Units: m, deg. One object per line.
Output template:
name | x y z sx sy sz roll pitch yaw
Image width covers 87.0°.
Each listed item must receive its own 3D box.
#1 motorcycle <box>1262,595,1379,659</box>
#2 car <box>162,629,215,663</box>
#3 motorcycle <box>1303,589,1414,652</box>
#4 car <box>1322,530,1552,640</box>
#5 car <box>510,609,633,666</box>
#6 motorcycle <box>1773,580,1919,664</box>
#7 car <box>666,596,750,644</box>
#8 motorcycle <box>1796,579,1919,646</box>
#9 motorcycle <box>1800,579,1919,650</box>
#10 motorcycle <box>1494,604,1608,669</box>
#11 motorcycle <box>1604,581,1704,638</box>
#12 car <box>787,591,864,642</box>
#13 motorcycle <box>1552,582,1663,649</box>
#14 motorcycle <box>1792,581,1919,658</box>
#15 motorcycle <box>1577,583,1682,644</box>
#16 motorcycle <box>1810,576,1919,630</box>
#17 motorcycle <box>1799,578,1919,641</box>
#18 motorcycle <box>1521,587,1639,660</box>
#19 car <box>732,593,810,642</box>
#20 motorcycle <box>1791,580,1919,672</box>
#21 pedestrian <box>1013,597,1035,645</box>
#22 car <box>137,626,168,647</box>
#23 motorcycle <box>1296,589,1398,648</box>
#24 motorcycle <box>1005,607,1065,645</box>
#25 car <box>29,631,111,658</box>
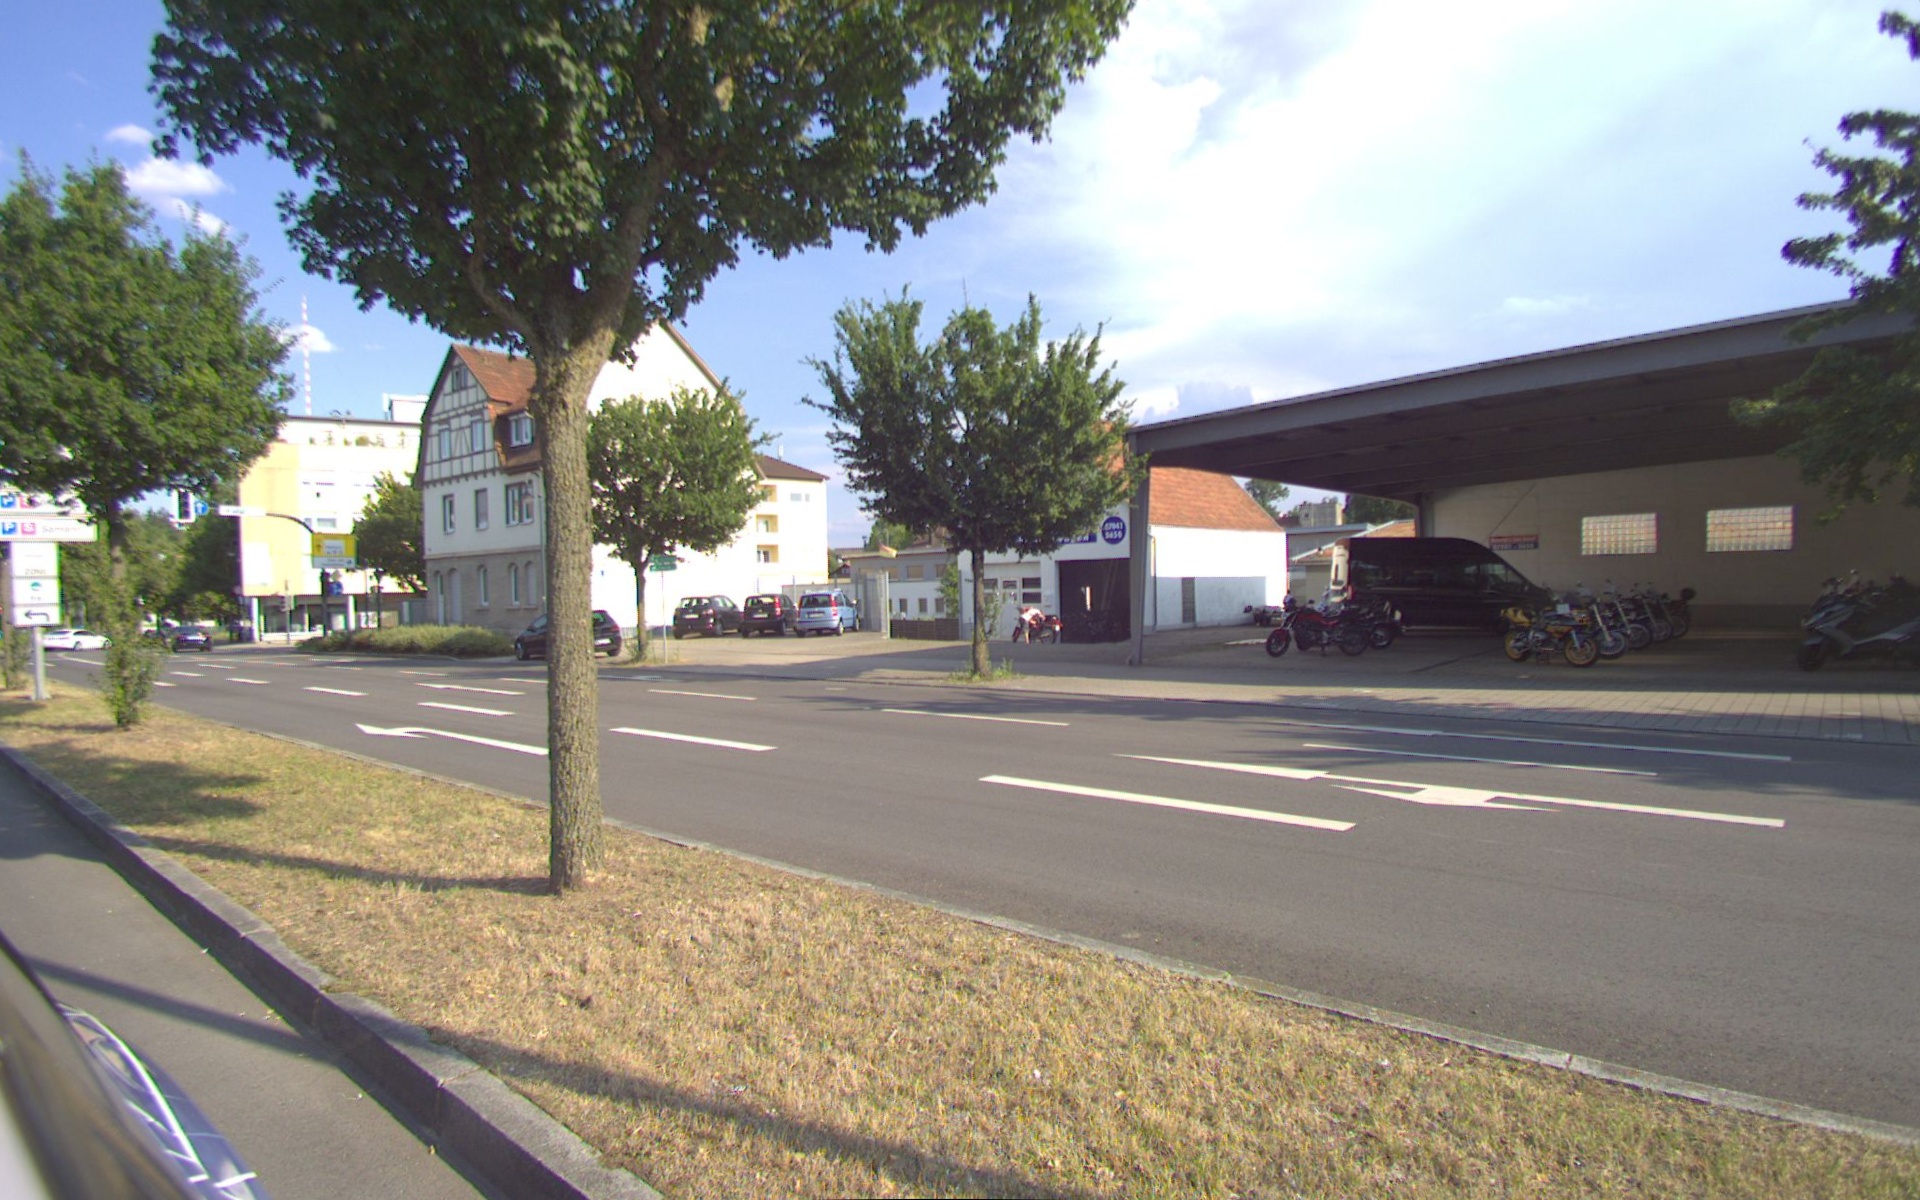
motorcycle | 7.505 0.565 21.161 2.202 1.290 0.629 -1 0 11
car | -41.650 2.436 54.604 4.002 1.706 1.757 -1 0 45
motorcycle | 8.965 0.455 22.805 2.198 1.372 0.630 -1 0 5
car | 12.875 -0.373 27.629 5.221 2.773 1.996 -1 0 7
car | -11.591 1.086 30.079 3.823 1.462 1.795 -1 2 42
motorcycle | 14.922 0.365 16.777 2.103 1.306 0.628 -3 -1 18
car | -9.312 0.697 37.702 1.797 1.512 3.819 -3 2 5
motorcycle | 19.043 0.261 21.290 2.103 1.306 0.628 -3 -1 18
motorcycle | 18.054 0.273 19.989 2.103 1.306 0.628 -3 -1 18
motorcycle | 10.540 0.623 18.152 0.621 1.095 2.038 -1 0 -7
motorcycle | 17.300 0.225 25.303 0.621 1.347 2.269 -1 0 -9
car | -4.672 0.526 35.679 1.797 1.512 3.819 -3 2 5
motorcycle | 13.873 0.328 21.770 0.621 1.347 2.269 -1 0 -9
motorcycle | 16.540 0.344 18.348 2.103 1.306 0.628 -3 -1 18
motorcycle | 15.546 0.307 23.580 0.621 1.347 2.269 -1 0 -9
motorcycle | 23.743 0.078 26.521 2.103 1.306 0.628 -3 -1 18
motorcycle | 20.237 0.211 22.644 2.103 1.306 0.628 -3 -1 18
motorcycle | 12.167 0.441 19.957 0.621 1.347 2.269 -1 0 -9
car | -6.911 0.592 37.309 1.797 1.512 3.819 -3 2 5
motorcycle | 13.869 0.379 15.116 2.103 1.306 0.628 -3 -1 18
pedestrian | 2.082 0.681 32.766 0.485 1.530 0.496 -1 0 41
car | -69.799 3.141 87.490 1.753 1.706 4.010 -1 0 -34
motorcycle | 9.388 0.457 24.608 2.198 1.372 0.630 -1 0 5
motorcycle | 2.444 0.845 33.212 1.974 1.194 0.577 -1 0 41
car | -56.658 2.807 64.524 1.755 1.480 4.381 -1 0 -7
